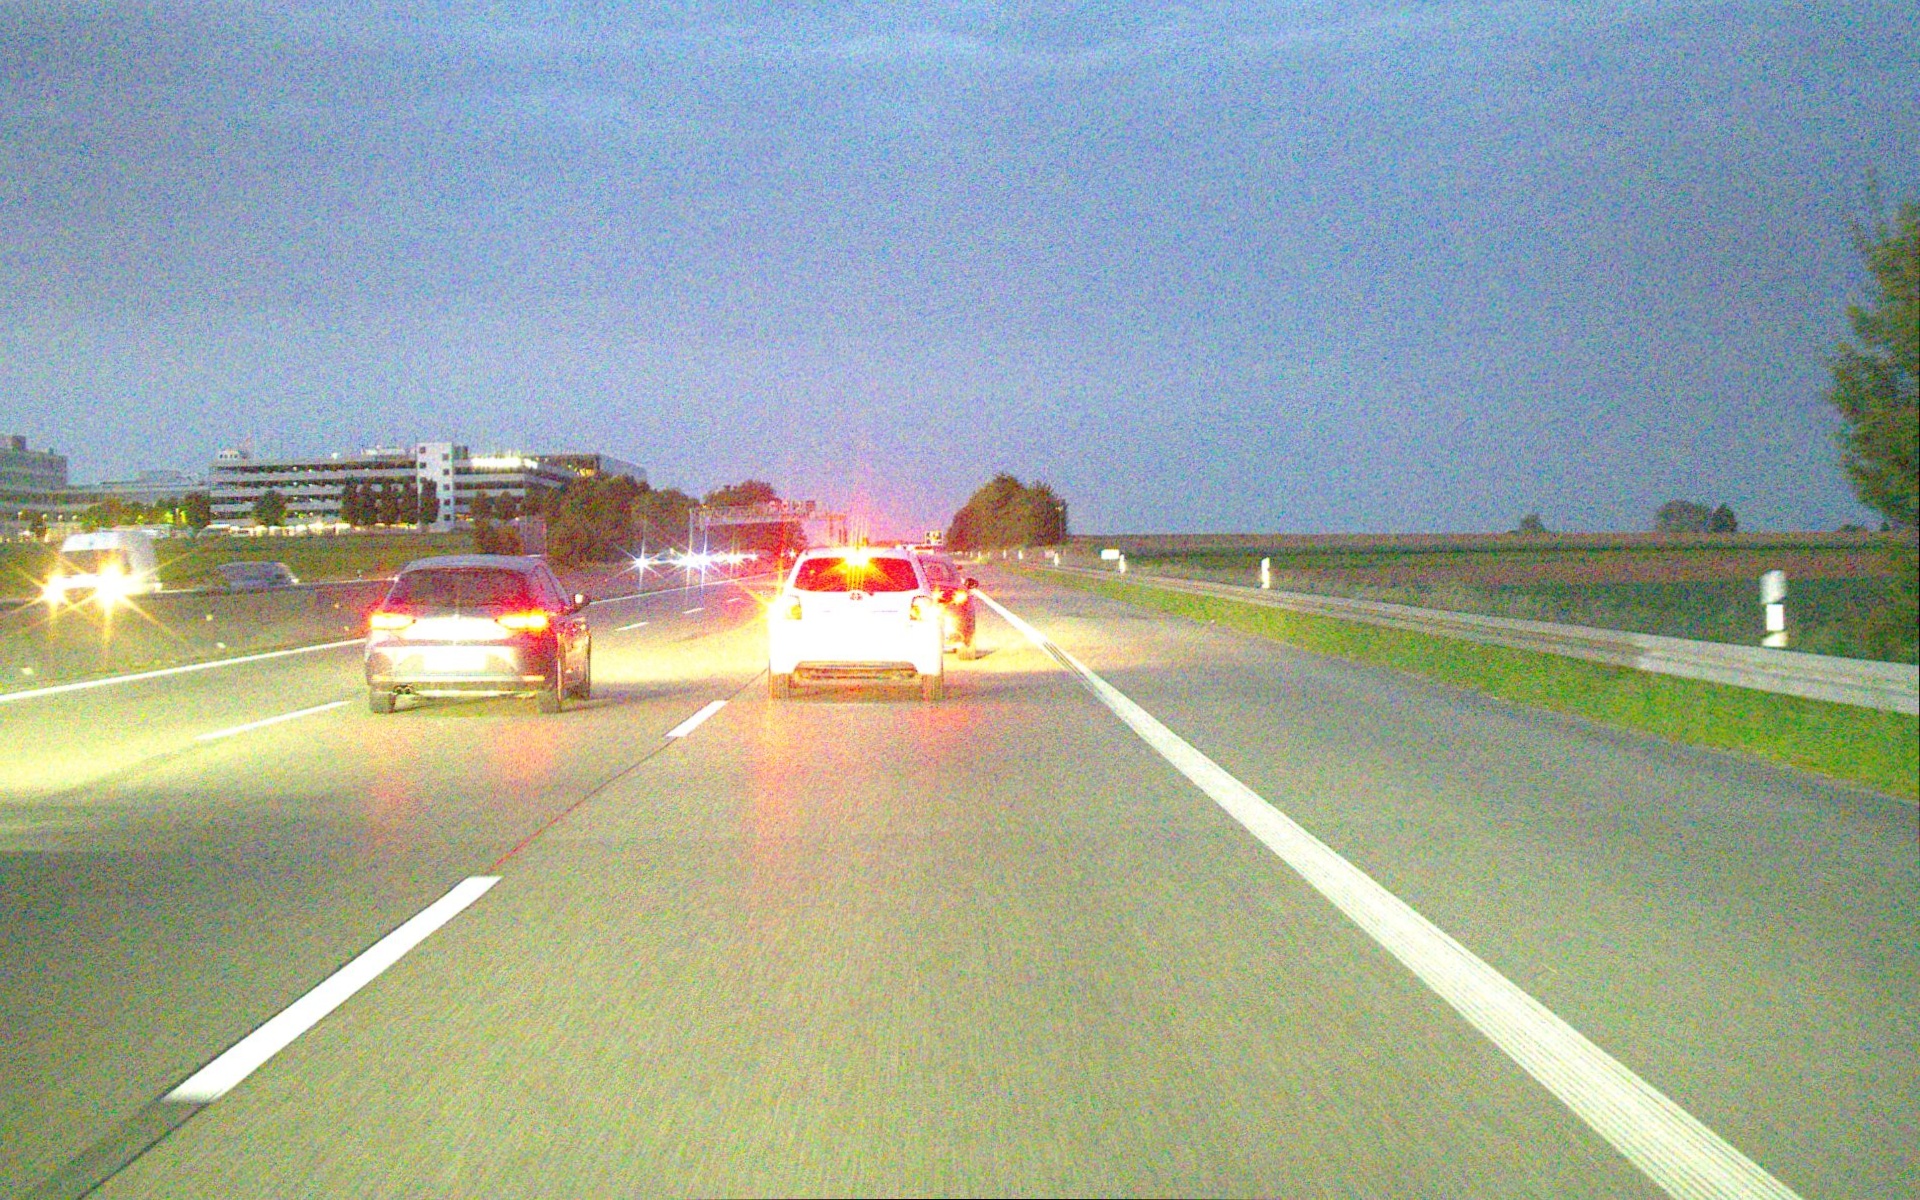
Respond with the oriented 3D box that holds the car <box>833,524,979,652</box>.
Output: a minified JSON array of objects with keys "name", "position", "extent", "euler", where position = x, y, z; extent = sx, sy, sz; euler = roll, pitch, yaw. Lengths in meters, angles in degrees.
[{"name":"car","position":[-0.733,-0.171,46.855],"extent":[1.880,1.637,4.000],"euler":[1,0,-1]}]

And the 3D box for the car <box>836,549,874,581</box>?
[{"name":"car","position":[-6.283,-2.107,205.782],"extent":[2.199,1.873,4.000],"euler":[1,0,-1]}]

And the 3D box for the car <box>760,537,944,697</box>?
[{"name":"car","position":[-1.048,0.150,35.339],"extent":[1.744,1.519,4.414],"euler":[1,0,0]}]

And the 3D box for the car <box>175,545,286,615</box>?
[{"name":"car","position":[-17.324,-0.476,81.816],"extent":[1.699,1.611,4.626],"euler":[1,0,-1]}]

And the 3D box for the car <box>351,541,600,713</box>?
[{"name":"car","position":[-4.451,0.224,32.200],"extent":[1.722,1.466,4.726],"euler":[1,0,-1]}]

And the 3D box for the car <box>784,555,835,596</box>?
[{"name":"car","position":[-5.825,-0.959,133.332],"extent":[1.880,1.547,4.000],"euler":[1,0,-1]}]

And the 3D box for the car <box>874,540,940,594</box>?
[{"name":"car","position":[-1.586,-0.972,101.718],"extent":[1.880,1.547,4.000],"euler":[1,0,-1]}]

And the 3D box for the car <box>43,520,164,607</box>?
[{"name":"car","position":[-24.324,-1.024,97.795],"extent":[1.993,2.379,5.836],"euler":[1,0,0]}]
